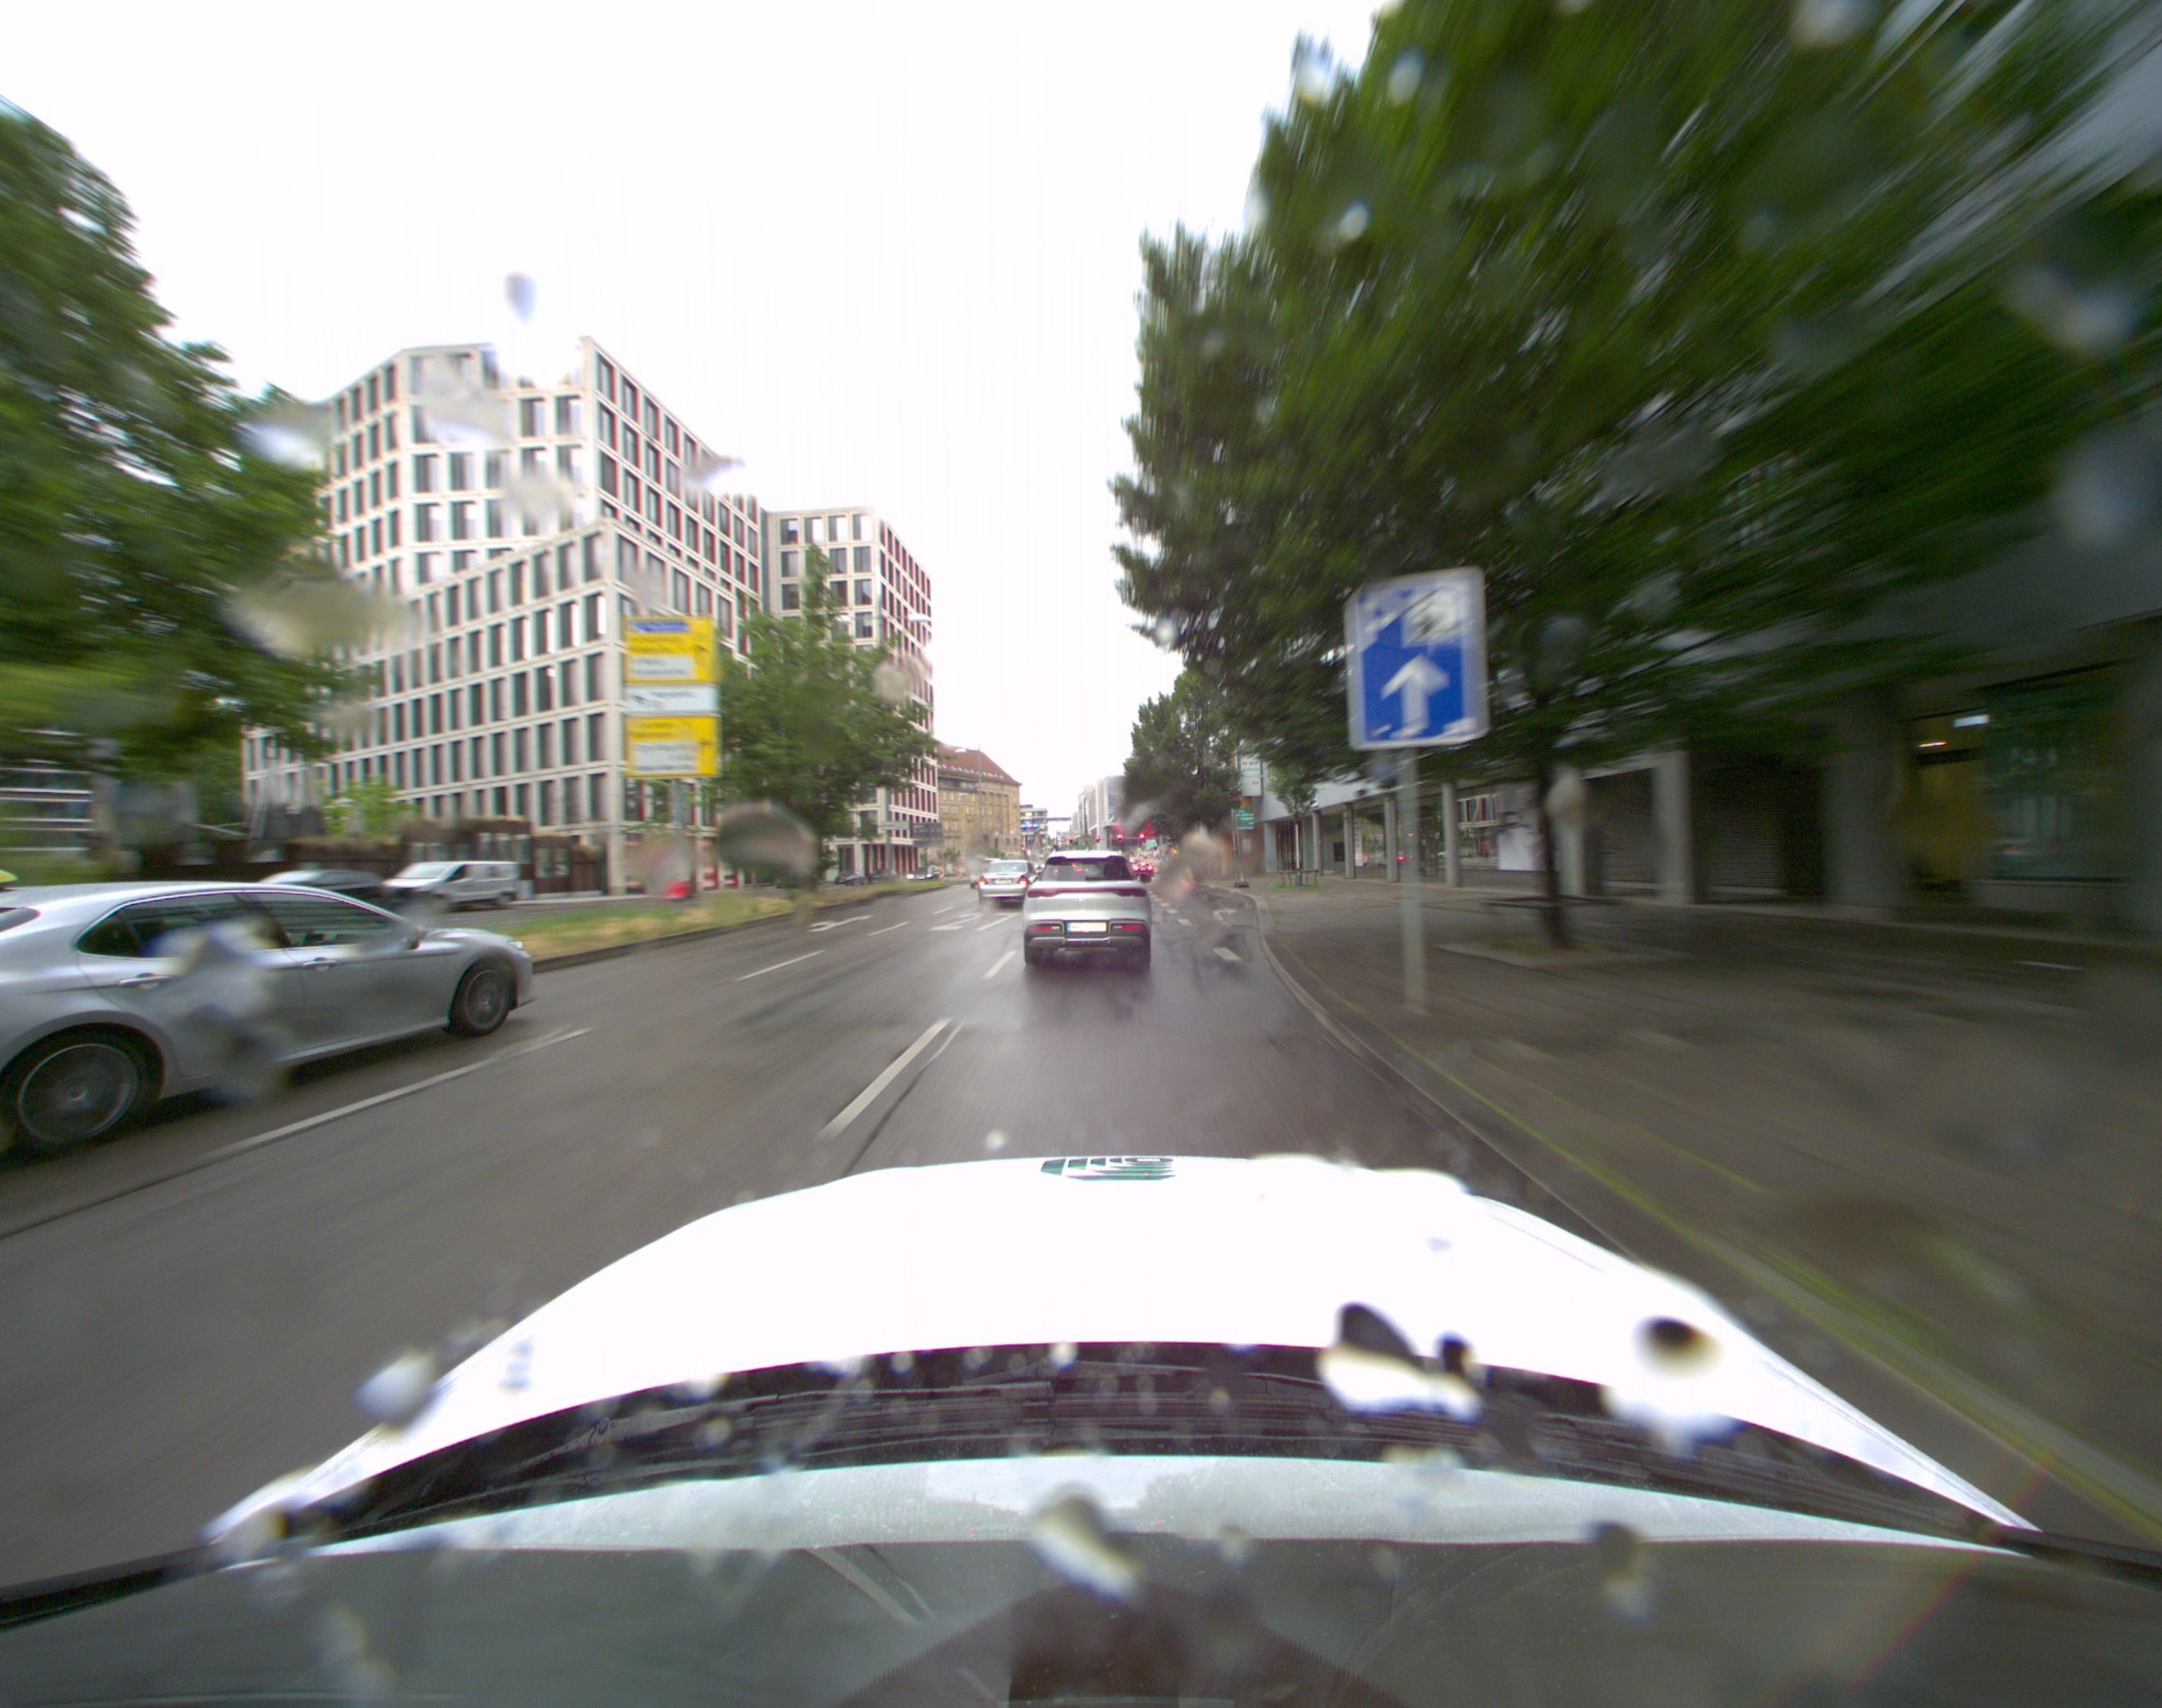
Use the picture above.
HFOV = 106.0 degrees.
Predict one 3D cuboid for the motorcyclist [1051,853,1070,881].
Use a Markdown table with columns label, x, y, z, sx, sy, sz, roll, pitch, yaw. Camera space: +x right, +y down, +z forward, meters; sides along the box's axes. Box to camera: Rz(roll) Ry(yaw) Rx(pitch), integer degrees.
| label | x | y | z | sx | sy | sz | roll | pitch | yaw |
| --- | --- | --- | --- | --- | --- | --- | --- | --- | --- |
| motorcyclist | -1.106 | 0.709 | 44.592 | 0.937 | 1.476 | 1.101 | -1 | -2 | 4 |

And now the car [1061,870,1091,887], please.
| label | x | y | z | sx | sy | sz | roll | pitch | yaw |
| --- | --- | --- | --- | --- | --- | --- | --- | --- | --- |
| car | -0.444 | 2.269 | 76.417 | 1.875 | 1.515 | 5.015 | -1 | -2 | 10 |

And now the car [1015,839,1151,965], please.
| label | x | y | z | sx | sy | sz | roll | pitch | yaw |
| --- | --- | --- | --- | --- | --- | --- | --- | --- | --- |
| car | 0.052 | 0.704 | 12.946 | 1.802 | 1.661 | 4.170 | -1 | -2 | 1 |

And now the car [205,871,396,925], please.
| label | x | y | z | sx | sy | sz | roll | pitch | yaw |
| --- | --- | --- | --- | --- | --- | --- | --- | --- | --- |
| car | -24.545 | 1.345 | 25.868 | 1.790 | 1.529 | 4.288 | -1 | -2 | 2 |

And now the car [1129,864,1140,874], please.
| label | x | y | z | sx | sy | sz | roll | pitch | yaw |
| --- | --- | --- | --- | --- | --- | --- | --- | --- | --- |
| car | 11.168 | 3.206 | 168.840 | 1.987 | 2.014 | 3.999 | -1 | -2 | 0 |

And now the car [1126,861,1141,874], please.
| label | x | y | z | sx | sy | sz | roll | pitch | yaw |
| --- | --- | --- | --- | --- | --- | --- | --- | --- | --- |
| car | 6.854 | 1.752 | 105.979 | 1.774 | 1.600 | 4.493 | -1 | -2 | 6 |

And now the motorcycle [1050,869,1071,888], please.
| label | x | y | z | sx | sy | sz | roll | pitch | yaw |
| --- | --- | --- | --- | --- | --- | --- | --- | --- | --- |
| motorcycle | -1.110 | 1.311 | 44.570 | 0.937 | 0.989 | 2.297 | -1 | -1 | 4 |

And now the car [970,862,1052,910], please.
| label | x | y | z | sx | sy | sz | roll | pitch | yaw |
| --- | --- | --- | --- | --- | --- | --- | --- | --- | --- |
| car | -2.171 | 1.001 | 26.323 | 1.723 | 1.404 | 4.391 | -1 | -2 | 7 |

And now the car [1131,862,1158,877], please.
| label | x | y | z | sx | sy | sz | roll | pitch | yaw |
| --- | --- | --- | --- | --- | --- | --- | --- | --- | --- |
| car | 6.510 | 1.593 | 83.365 | 1.876 | 1.544 | 4.011 | -1 | -2 | 18 |

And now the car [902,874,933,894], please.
| label | x | y | z | sx | sy | sz | roll | pitch | yaw |
| --- | --- | --- | --- | --- | --- | --- | --- | --- | --- |
| car | -13.764 | 2.500 | 68.688 | 1.821 | 1.632 | 4.870 | 0 | -2 | -2 |

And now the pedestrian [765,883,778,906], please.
| label | x | y | z | sx | sy | sz | roll | pitch | yaw |
| --- | --- | --- | --- | --- | --- | --- | --- | --- | --- |
| pedestrian | -24.622 | 3.221 | 64.810 | 0.609 | 1.735 | 0.969 | -1 | -2 | 7 |

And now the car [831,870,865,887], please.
| label | x | y | z | sx | sy | sz | roll | pitch | yaw |
| --- | --- | --- | --- | --- | --- | --- | --- | --- | --- |
| car | -21.157 | 2.204 | 74.063 | 1.690 | 1.424 | 3.958 | -3 | -2 | 3 |

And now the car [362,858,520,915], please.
| label | x | y | z | sx | sy | sz | roll | pitch | yaw |
| --- | --- | --- | --- | --- | --- | --- | --- | --- | --- |
| car | -24.461 | 1.241 | 31.427 | 1.985 | 2.014 | 4.918 | -1 | -2 | 2 |

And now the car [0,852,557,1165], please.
| label | x | y | z | sx | sy | sz | roll | pitch | yaw |
| --- | --- | --- | --- | --- | --- | --- | --- | --- | --- |
| car | -6.152 | 0.814 | 5.654 | 1.824 | 1.521 | 4.801 | -1 | -2 | 1 |

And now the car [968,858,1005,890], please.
| label | x | y | z | sx | sy | sz | roll | pitch | yaw |
| --- | --- | --- | --- | --- | --- | --- | --- | --- | --- |
| car | -5.064 | 1.104 | 44.034 | 1.729 | 1.616 | 3.995 | 0 | -2 | -3 |

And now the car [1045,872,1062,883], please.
| label | x | y | z | sx | sy | sz | roll | pitch | yaw |
| --- | --- | --- | --- | --- | --- | --- | --- | --- | --- |
| car | -3.466 | 3.010 | 102.985 | 1.775 | 1.373 | 3.997 | -1 | -2 | 4 |

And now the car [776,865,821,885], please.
| label | x | y | z | sx | sy | sz | roll | pitch | yaw |
| --- | --- | --- | --- | --- | --- | --- | --- | --- | --- |
| car | -21.677 | 1.621 | 62.587 | 1.690 | 1.424 | 4.377 | -3 | -1 | 3 |

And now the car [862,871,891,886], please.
| label | x | y | z | sx | sy | sz | roll | pitch | yaw |
| --- | --- | --- | --- | --- | --- | --- | --- | --- | --- |
| car | -20.866 | 2.472 | 83.313 | 1.690 | 1.424 | 3.958 | -3 | -2 | 3 |

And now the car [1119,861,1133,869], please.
| label | x | y | z | sx | sy | sz | roll | pitch | yaw |
| --- | --- | --- | --- | --- | --- | --- | --- | --- | --- |
| car | 10.766 | 2.673 | 194.901 | 1.998 | 1.816 | 3.976 | 0 | -2 | -17 |
